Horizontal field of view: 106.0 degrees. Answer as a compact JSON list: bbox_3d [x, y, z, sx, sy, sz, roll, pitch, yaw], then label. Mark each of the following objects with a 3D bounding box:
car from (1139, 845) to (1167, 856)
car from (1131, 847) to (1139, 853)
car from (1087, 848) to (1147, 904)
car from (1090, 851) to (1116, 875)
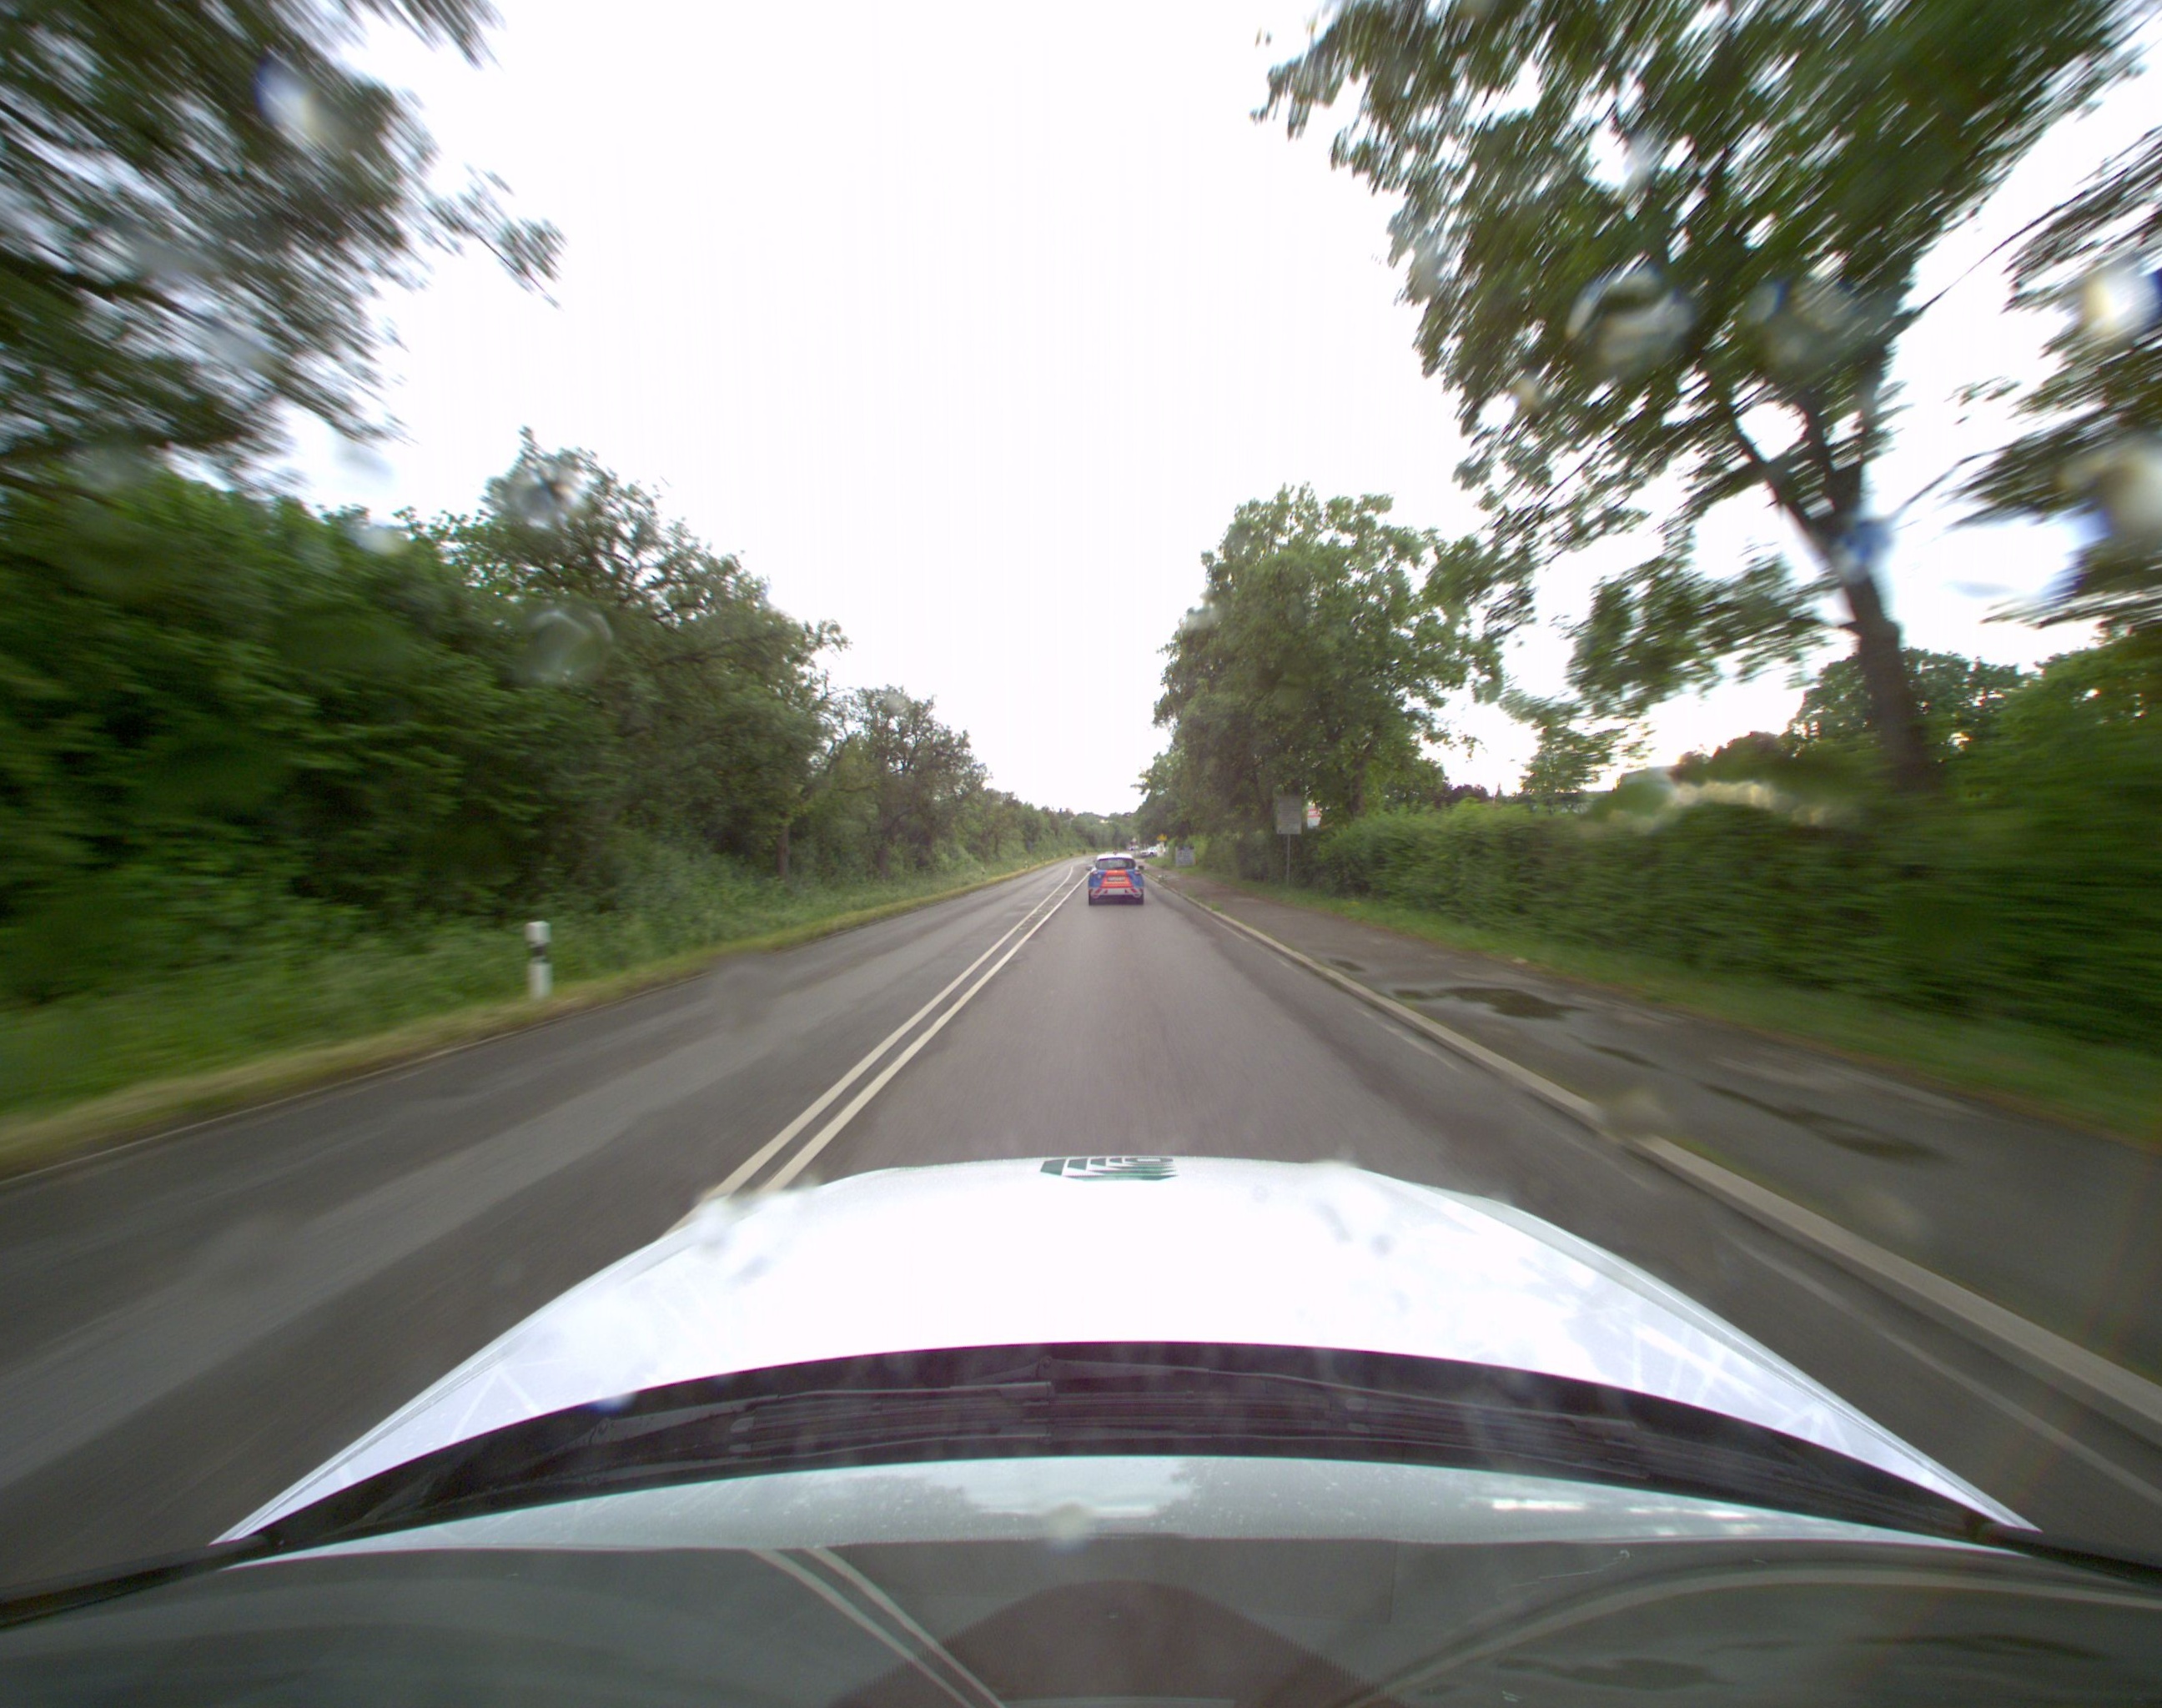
[{"bbox_3d":[11.649,-0.568,131.613,4.644,1.751,2.011,0,0,-43],"label":"car"},{"bbox_3d":[16.207,-1.213,245.582,1.682,1.790,3.871,0,0,14],"label":"car"},{"bbox_3d":[1.122,0.652,26.225,1.799,1.668,3.857,0,0,1],"label":"car"},{"bbox_3d":[1.487,0.582,54.495,1.687,1.595,3.858,0,0,2],"label":"car"}]
